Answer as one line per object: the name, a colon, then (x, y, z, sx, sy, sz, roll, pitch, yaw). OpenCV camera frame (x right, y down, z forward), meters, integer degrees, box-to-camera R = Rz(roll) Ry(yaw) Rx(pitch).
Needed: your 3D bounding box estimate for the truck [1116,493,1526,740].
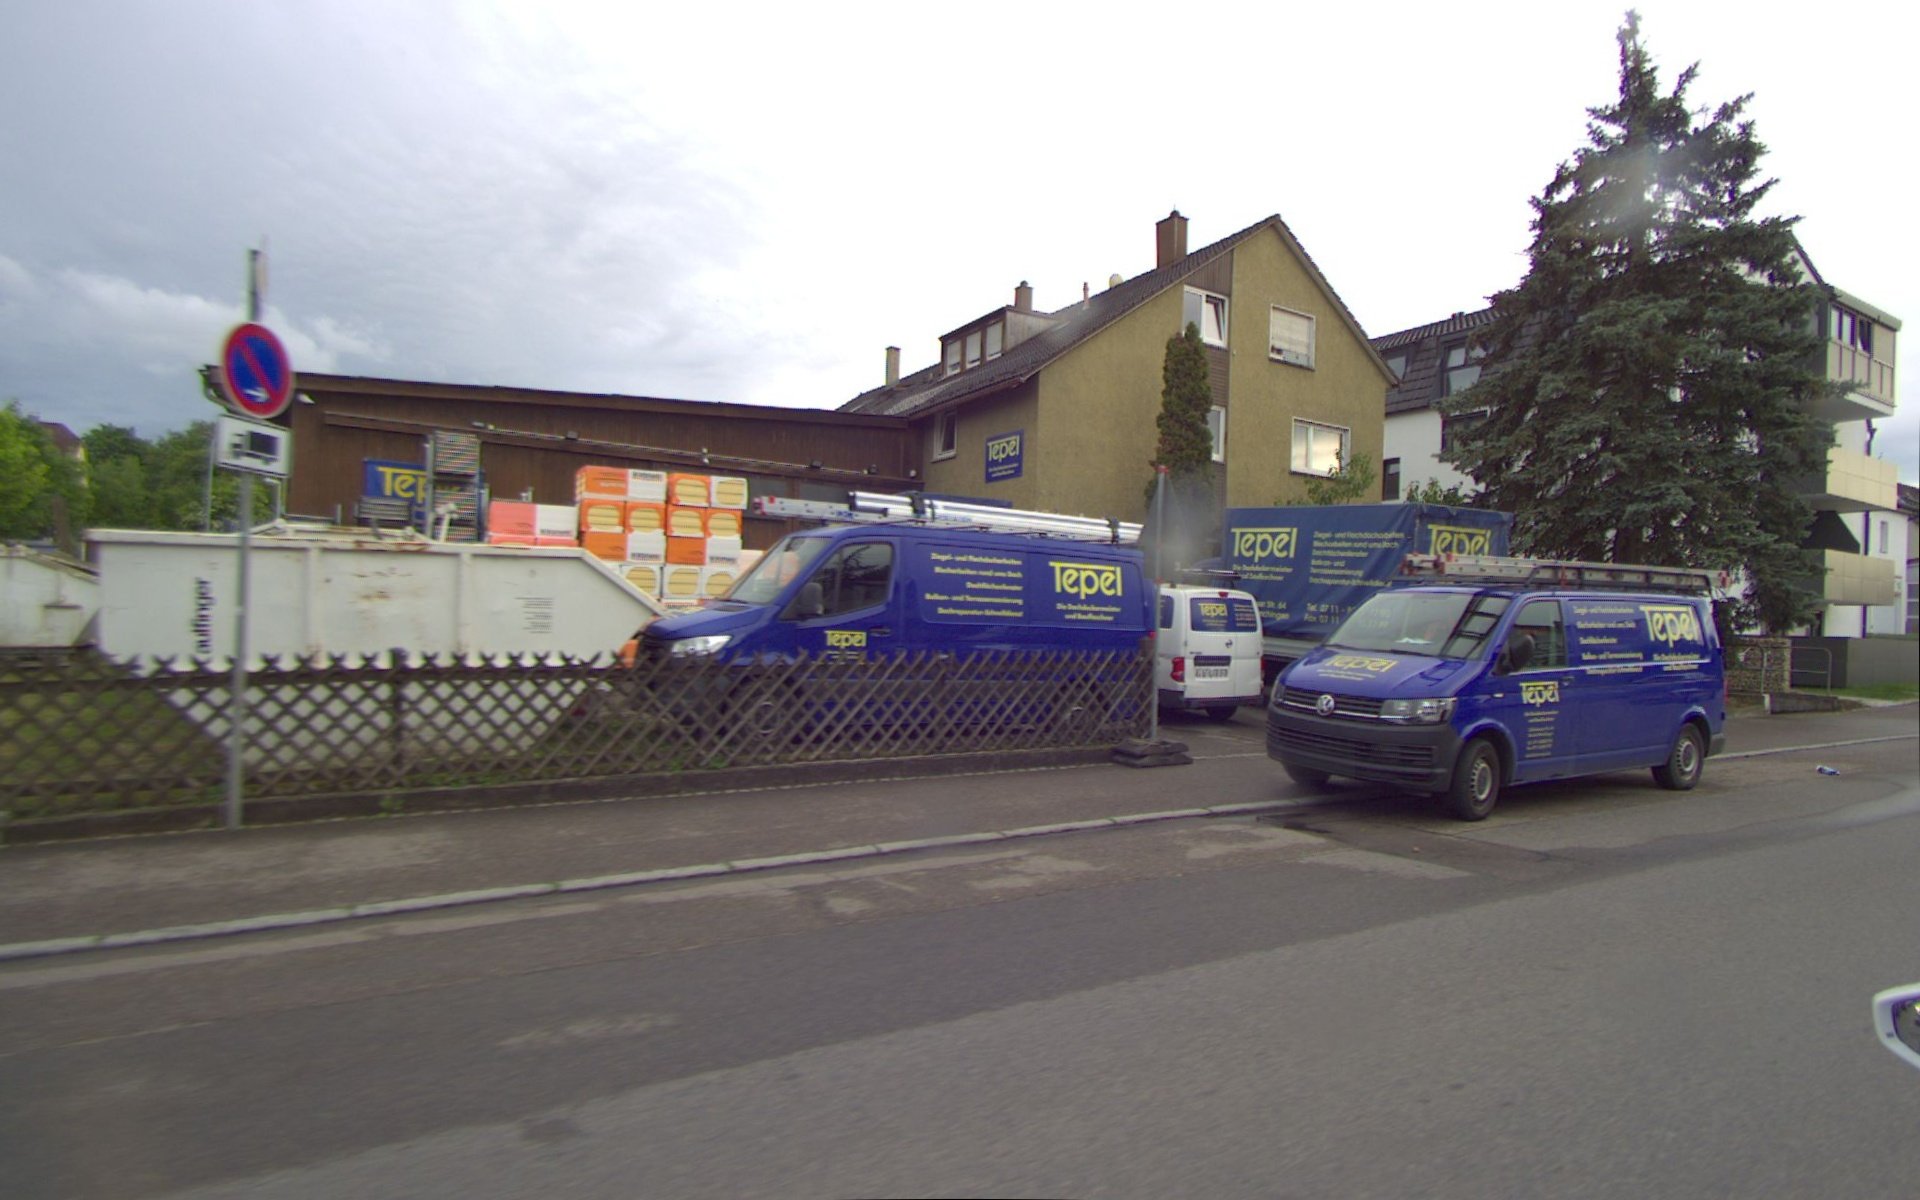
truck: (5.279, 0.173, 15.834, 2.420, 3.114, 5.886, 2, 1, -29)

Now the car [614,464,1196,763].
car: (-0.439, 0.203, 11.174, 6.127, 2.601, 2.066, 2, 1, -30)

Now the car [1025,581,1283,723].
car: (2.704, 0.664, 14.790, 1.756, 1.773, 3.694, 2, 1, -28)

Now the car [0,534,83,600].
car: (-34.532, -1.237, 37.547, 1.955, 2.269, 5.191, 2, 1, -35)

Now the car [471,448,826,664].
car: (-5.044, -0.563, 16.479, 5.181, 3.053, 2.066, 2, 1, -30)

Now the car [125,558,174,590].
car: (-49.232, -1.572, 61.090, 1.955, 1.797, 4.195, 2, 1, -34)

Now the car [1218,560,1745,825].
car: (5.168, 0.759, 9.708, 5.304, 1.973, 1.983, 2, 0, -31)
